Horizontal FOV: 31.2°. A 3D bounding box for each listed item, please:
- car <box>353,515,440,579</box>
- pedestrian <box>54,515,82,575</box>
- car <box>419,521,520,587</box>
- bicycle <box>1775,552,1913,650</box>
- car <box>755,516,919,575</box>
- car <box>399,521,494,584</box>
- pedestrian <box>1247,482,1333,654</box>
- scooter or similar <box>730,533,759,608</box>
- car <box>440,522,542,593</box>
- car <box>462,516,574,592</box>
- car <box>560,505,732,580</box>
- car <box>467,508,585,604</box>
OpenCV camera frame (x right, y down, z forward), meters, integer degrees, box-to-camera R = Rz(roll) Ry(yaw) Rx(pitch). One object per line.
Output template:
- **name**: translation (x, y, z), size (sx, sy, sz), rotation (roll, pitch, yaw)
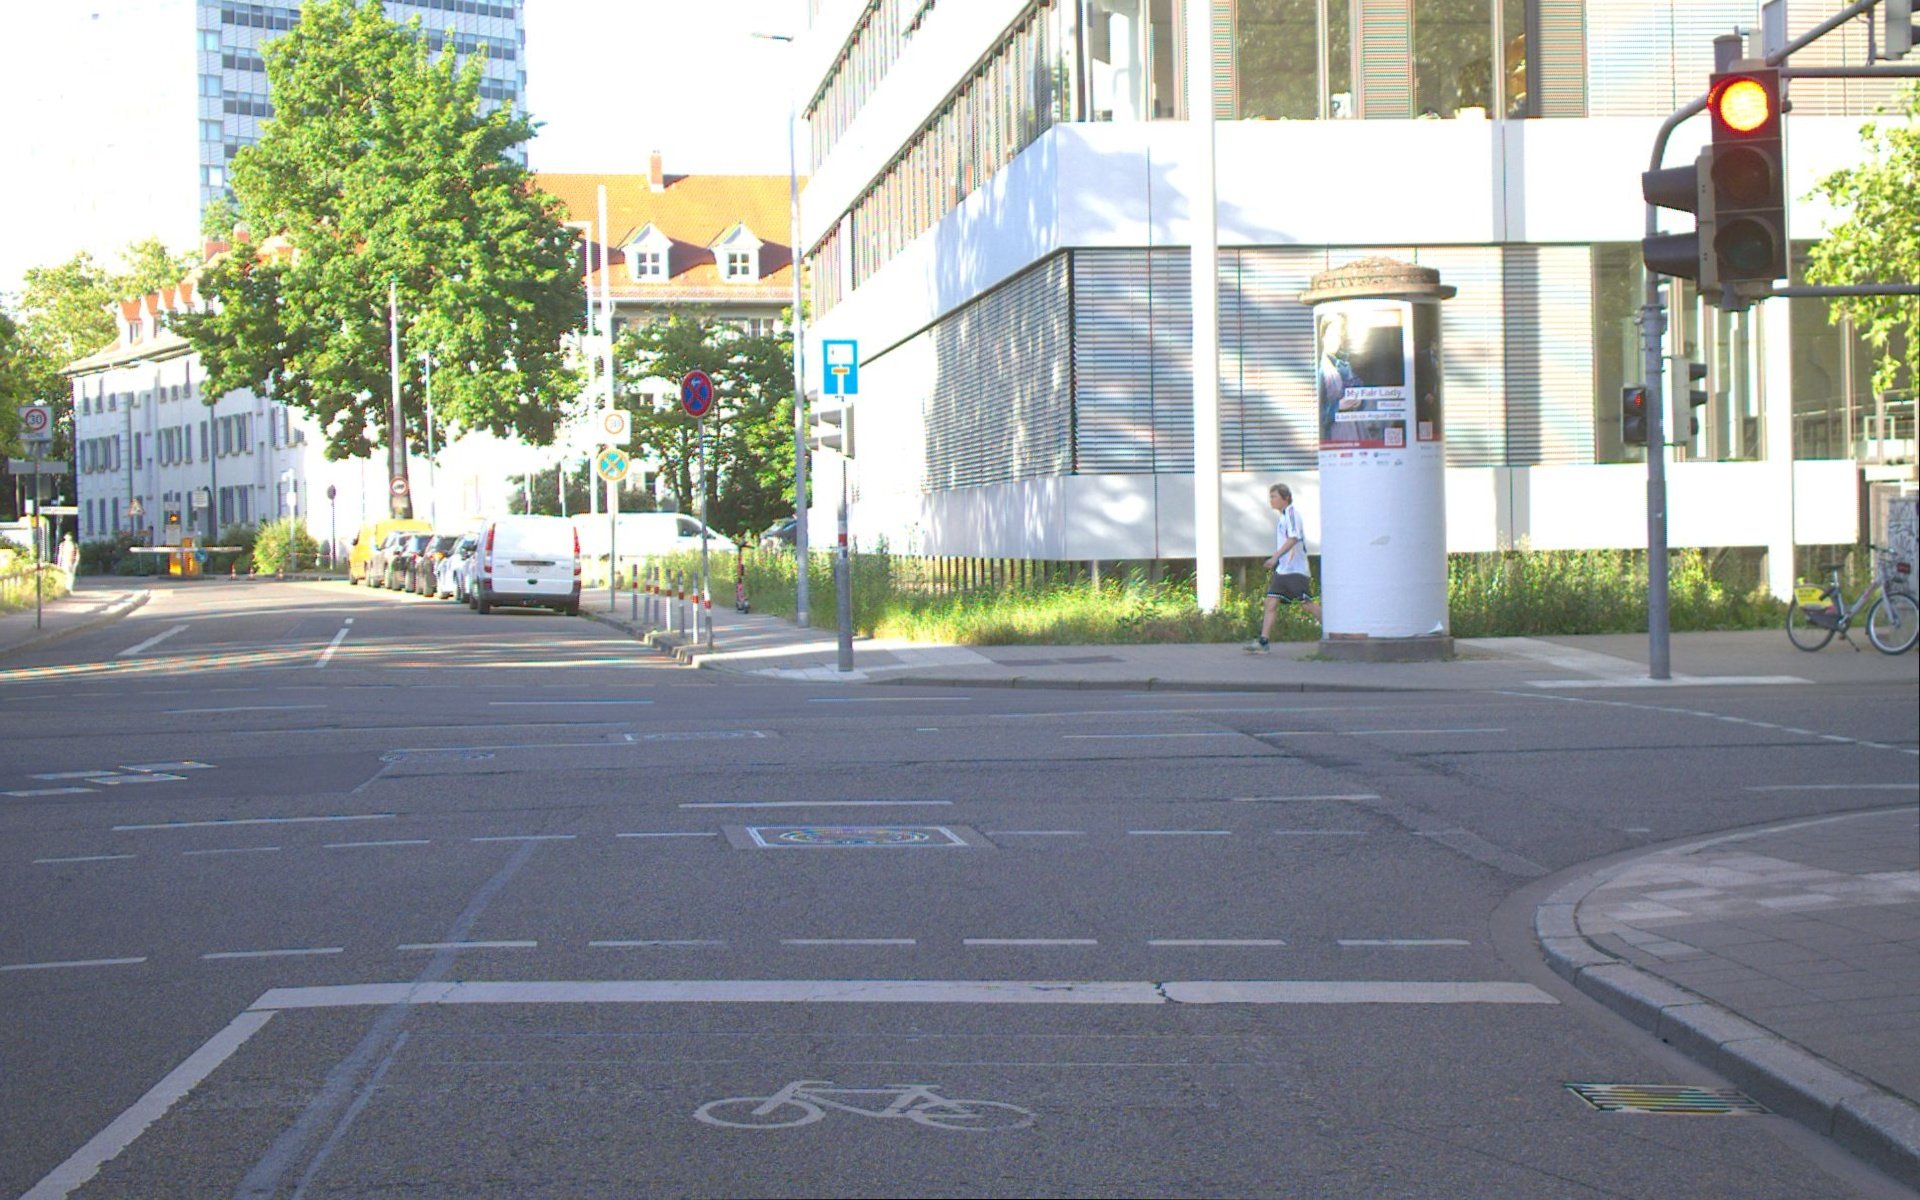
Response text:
- **car**: translation (-15.734, -1.469, 95.834), size (1.993, 1.719, 4.653), rotation (1, 1, -14)
- **pedestrian**: translation (-23.788, -1.454, 91.700), size (0.699, 1.581, 0.637), rotation (1, 0, -16)
- **car**: translation (-11.622, -1.075, 81.254), size (1.993, 1.493, 4.288), rotation (1, 1, -13)
- **bicycle**: translation (9.287, 0.008, 36.147), size (0.378, 1.005, 1.432), rotation (-2, 2, -42)
- **car**: translation (-3.751, -1.656, 104.774), size (4.635, 1.719, 2.001), rotation (1, 1, -16)
- **car**: translation (-12.876, -1.180, 85.978), size (1.993, 1.493, 4.653), rotation (1, 1, -13)
- **pedestrian**: translation (3.636, -0.357, 37.904), size (0.914, 1.862, 0.742), rotation (1, 0, 5)
- **scooter or similar**: translation (-3.656, -0.503, 58.291), size (0.437, 1.252, 1.420), rotation (-1, 1, -4)
- **car**: translation (-10.501, -0.949, 76.807), size (1.993, 1.493, 4.653), rotation (1, 1, -11)
- **car**: translation (-9.167, -0.948, 71.035), size (1.993, 1.493, 4.653), rotation (1, 1, -11)
- **car**: translation (-9.398, -1.725, 102.930), size (4.791, 2.151, 2.001), rotation (1, 0, -17)
- **car**: translation (-8.216, -0.828, 64.822), size (1.993, 1.719, 4.653), rotation (1, 1, -10)
